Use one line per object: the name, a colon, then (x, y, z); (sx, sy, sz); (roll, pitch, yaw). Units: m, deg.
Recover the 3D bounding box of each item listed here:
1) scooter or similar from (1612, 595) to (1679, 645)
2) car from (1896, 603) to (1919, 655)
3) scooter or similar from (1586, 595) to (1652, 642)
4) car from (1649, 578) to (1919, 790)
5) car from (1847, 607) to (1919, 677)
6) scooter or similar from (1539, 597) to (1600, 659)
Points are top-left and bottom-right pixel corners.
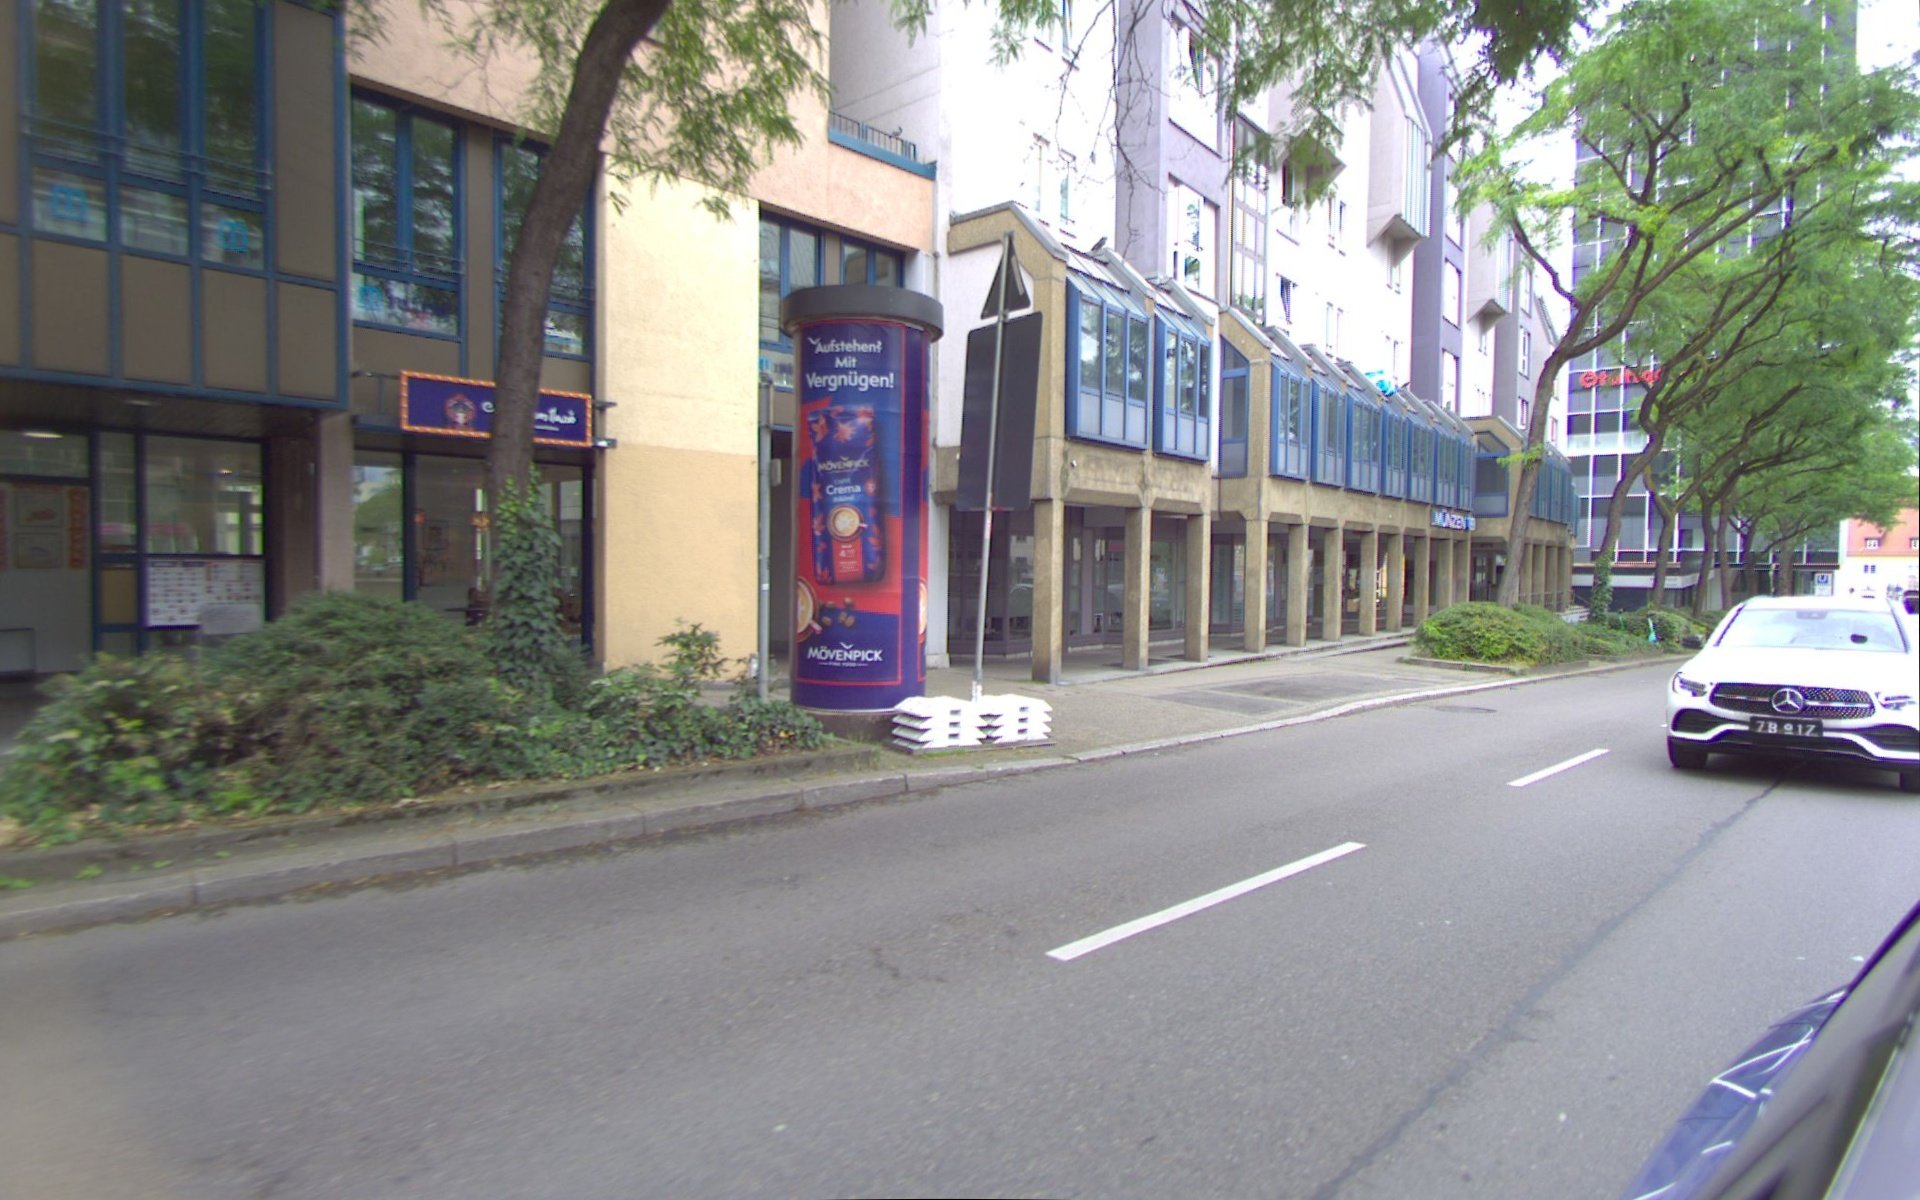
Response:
scooter or similar: (20.420, 0.590, 30.172); (1.512, 1.452, 0.685); (0, 0, 16)
car: (32.329, 0.935, 33.598); (3.599, 1.632, 1.637); (0, 0, -44)
scooter or similar: (20.619, 0.564, 31.682); (1.575, 1.452, 0.729); (0, 0, 16)
car: (8.250, 0.631, 9.649); (3.862, 1.628, 2.056); (0, 0, -44)
car: (21.333, 0.881, 22.639); (4.534, 1.404, 1.886); (0, 1, -44)
scooter or similar: (14.664, 0.657, 24.379); (0.564, 1.452, 1.185); (0, 0, -17)
